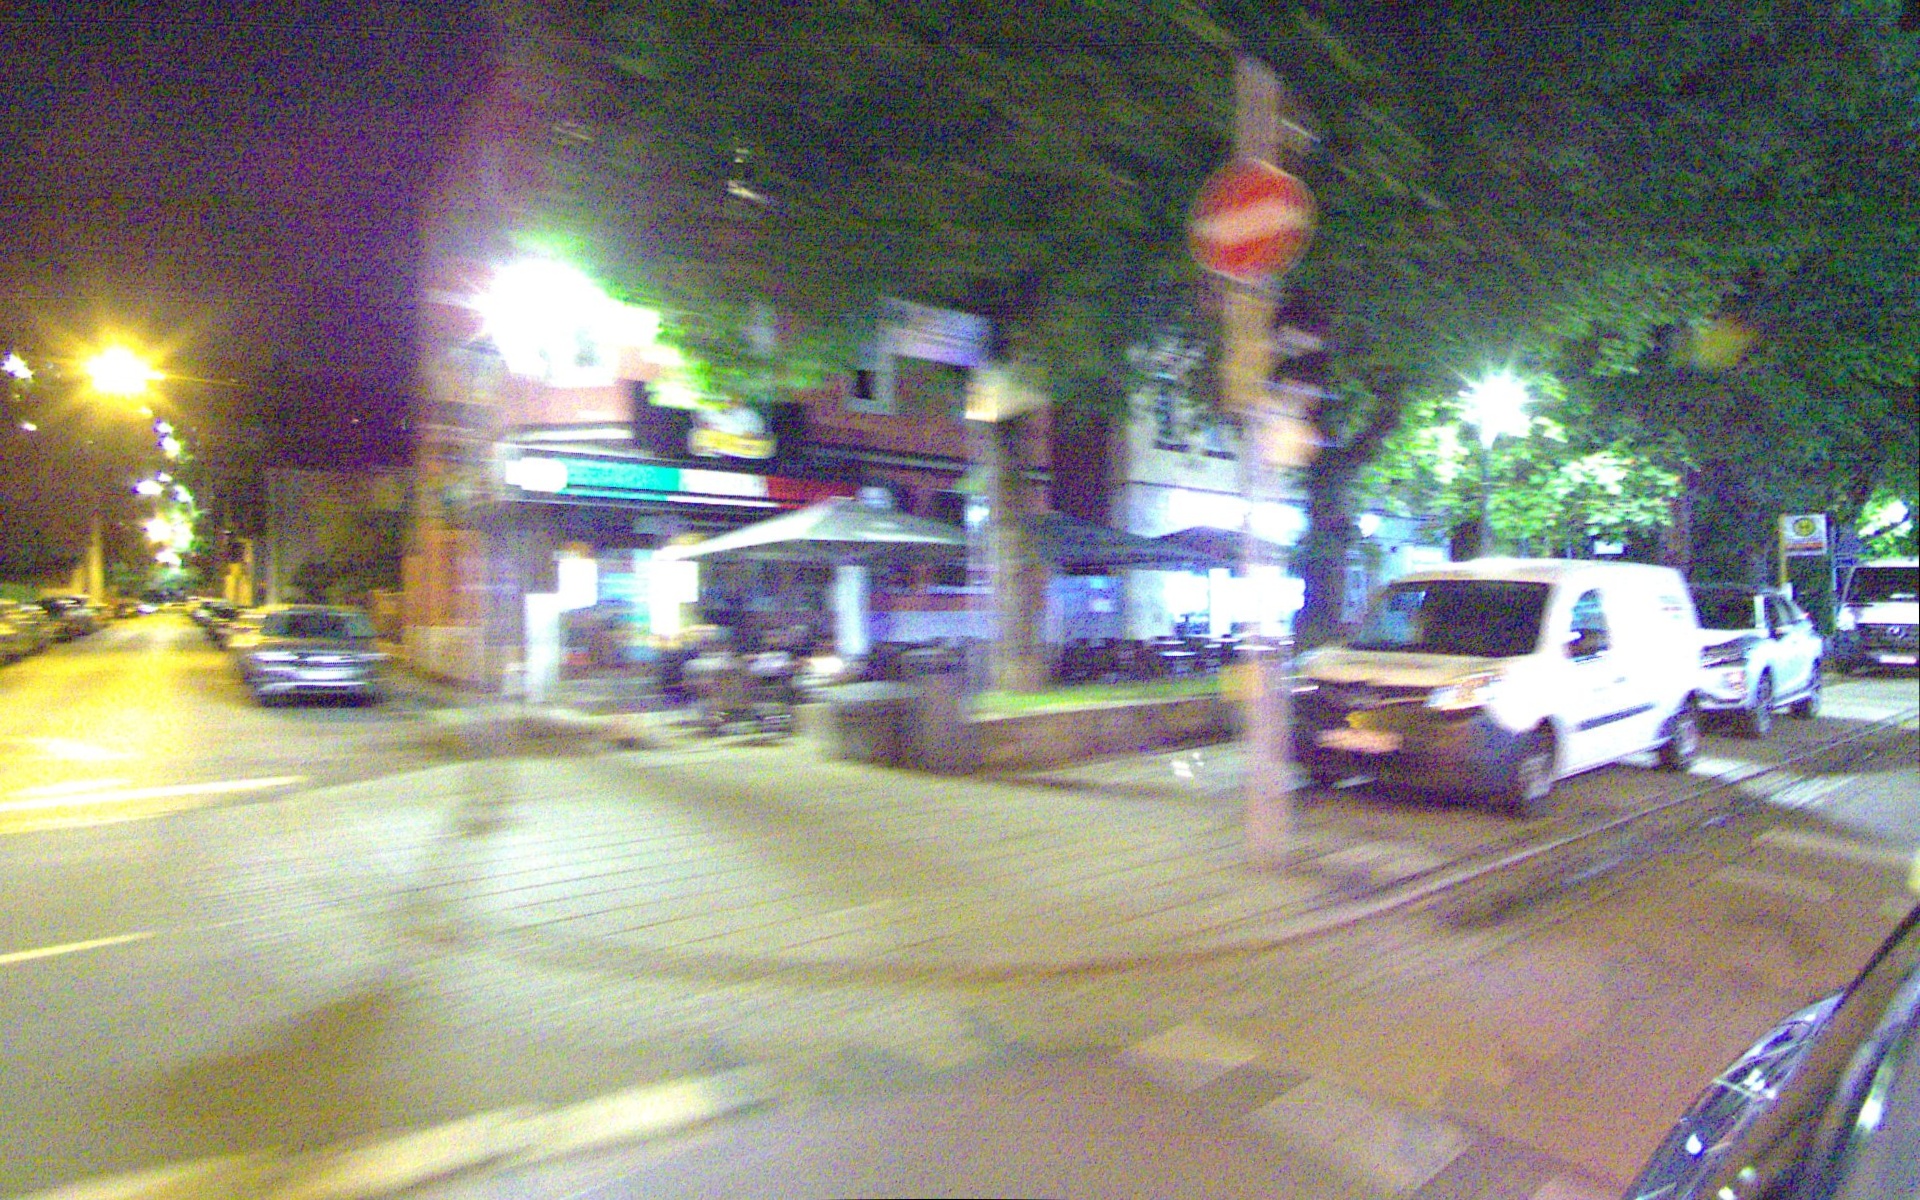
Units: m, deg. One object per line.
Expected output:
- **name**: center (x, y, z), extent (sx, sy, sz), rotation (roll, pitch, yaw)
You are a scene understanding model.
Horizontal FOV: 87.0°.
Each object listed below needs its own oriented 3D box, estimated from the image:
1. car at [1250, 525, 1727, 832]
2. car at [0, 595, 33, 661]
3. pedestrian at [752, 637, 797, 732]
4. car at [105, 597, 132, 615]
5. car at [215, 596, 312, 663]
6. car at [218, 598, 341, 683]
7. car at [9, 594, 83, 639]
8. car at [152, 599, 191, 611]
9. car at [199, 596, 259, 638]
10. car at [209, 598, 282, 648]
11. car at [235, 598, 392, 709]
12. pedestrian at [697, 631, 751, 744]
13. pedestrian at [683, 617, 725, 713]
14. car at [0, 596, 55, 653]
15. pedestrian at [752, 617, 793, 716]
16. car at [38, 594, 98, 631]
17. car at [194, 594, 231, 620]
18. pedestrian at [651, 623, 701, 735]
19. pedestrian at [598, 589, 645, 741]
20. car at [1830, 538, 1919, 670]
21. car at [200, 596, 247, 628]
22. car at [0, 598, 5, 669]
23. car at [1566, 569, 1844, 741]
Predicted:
- **car**: center (4.448, 0.478, 8.209), extent (4.497, 1.845, 1.793), rotation (0, -1, -39)
- **car**: center (-24.500, 0.701, 25.175), extent (1.771, 1.569, 4.153), rotation (-3, 1, -38)
- **pedestrian**: center (-2.159, 0.970, 11.801), extent (0.492, 1.067, 0.530), rotation (0, -1, -8)
- **car**: center (-80.832, 0.563, 97.250), extent (1.771, 1.569, 4.153), rotation (-3, 1, -38)
- **car**: center (-18.194, 0.732, 26.358), extent (1.770, 1.569, 4.153), rotation (3, -1, -38)
- **car**: center (-14.168, 0.776, 20.974), extent (1.770, 1.569, 4.153), rotation (3, -1, -38)
- **car**: center (-35.008, 0.615, 38.863), extent (1.771, 1.569, 4.153), rotation (-3, 1, -38)
- **car**: center (-100.319, 0.596, 128.832), extent (1.465, 1.415, 3.732), rotation (1, -1, 45)
- **car**: center (-29.816, 0.681, 41.234), extent (1.770, 1.569, 4.153), rotation (3, -1, -38)
- **car**: center (-24.131, 0.751, 34.120), extent (1.770, 1.569, 4.153), rotation (3, -1, -38)
- **car**: center (-10.837, 0.800, 16.838), extent (1.770, 1.569, 4.153), rotation (3, -1, -38)
- **pedestrian**: center (-2.548, 0.934, 10.950), extent (0.508, 1.183, 0.391), rotation (0, -1, -2)
- **pedestrian**: center (-3.501, 0.875, 13.867), extent (0.518, 1.280, 0.503), rotation (0, -1, -10)
- **car**: center (-28.005, 0.701, 29.731), extent (1.771, 1.569, 4.153), rotation (-3, 1, -38)
- **pedestrian**: center (-2.508, 0.877, 13.575), extent (0.518, 1.280, 0.685), rotation (0, -1, -10)
- **car**: center (-41.026, 0.549, 46.621), extent (1.771, 1.569, 4.153), rotation (-3, 1, -38)
- **car**: center (-47.724, 0.438, 64.583), extent (1.770, 1.569, 4.153), rotation (3, -1, -38)
- **pedestrian**: center (-3.345, 0.914, 11.941), extent (0.492, 1.280, 0.530), rotation (0, -1, -8)
- **pedestrian**: center (-3.665, 0.692, 10.985), extent (0.364, 1.608, 0.482), rotation (0, -1, -2)
- **car**: center (18.855, 0.075, 19.735), extent (5.061, 2.356, 2.138), rotation (0, -1, -41)
- **car**: center (-37.384, 0.590, 51.315), extent (1.770, 1.569, 4.153), rotation (2, -1, -38)
- **car**: center (-21.102, 0.774, 20.752), extent (1.771, 1.569, 4.153), rotation (-3, 1, -38)
- **car**: center (8.881, 0.542, 11.929), extent (4.220, 1.680, 1.687), rotation (0, -1, -40)
